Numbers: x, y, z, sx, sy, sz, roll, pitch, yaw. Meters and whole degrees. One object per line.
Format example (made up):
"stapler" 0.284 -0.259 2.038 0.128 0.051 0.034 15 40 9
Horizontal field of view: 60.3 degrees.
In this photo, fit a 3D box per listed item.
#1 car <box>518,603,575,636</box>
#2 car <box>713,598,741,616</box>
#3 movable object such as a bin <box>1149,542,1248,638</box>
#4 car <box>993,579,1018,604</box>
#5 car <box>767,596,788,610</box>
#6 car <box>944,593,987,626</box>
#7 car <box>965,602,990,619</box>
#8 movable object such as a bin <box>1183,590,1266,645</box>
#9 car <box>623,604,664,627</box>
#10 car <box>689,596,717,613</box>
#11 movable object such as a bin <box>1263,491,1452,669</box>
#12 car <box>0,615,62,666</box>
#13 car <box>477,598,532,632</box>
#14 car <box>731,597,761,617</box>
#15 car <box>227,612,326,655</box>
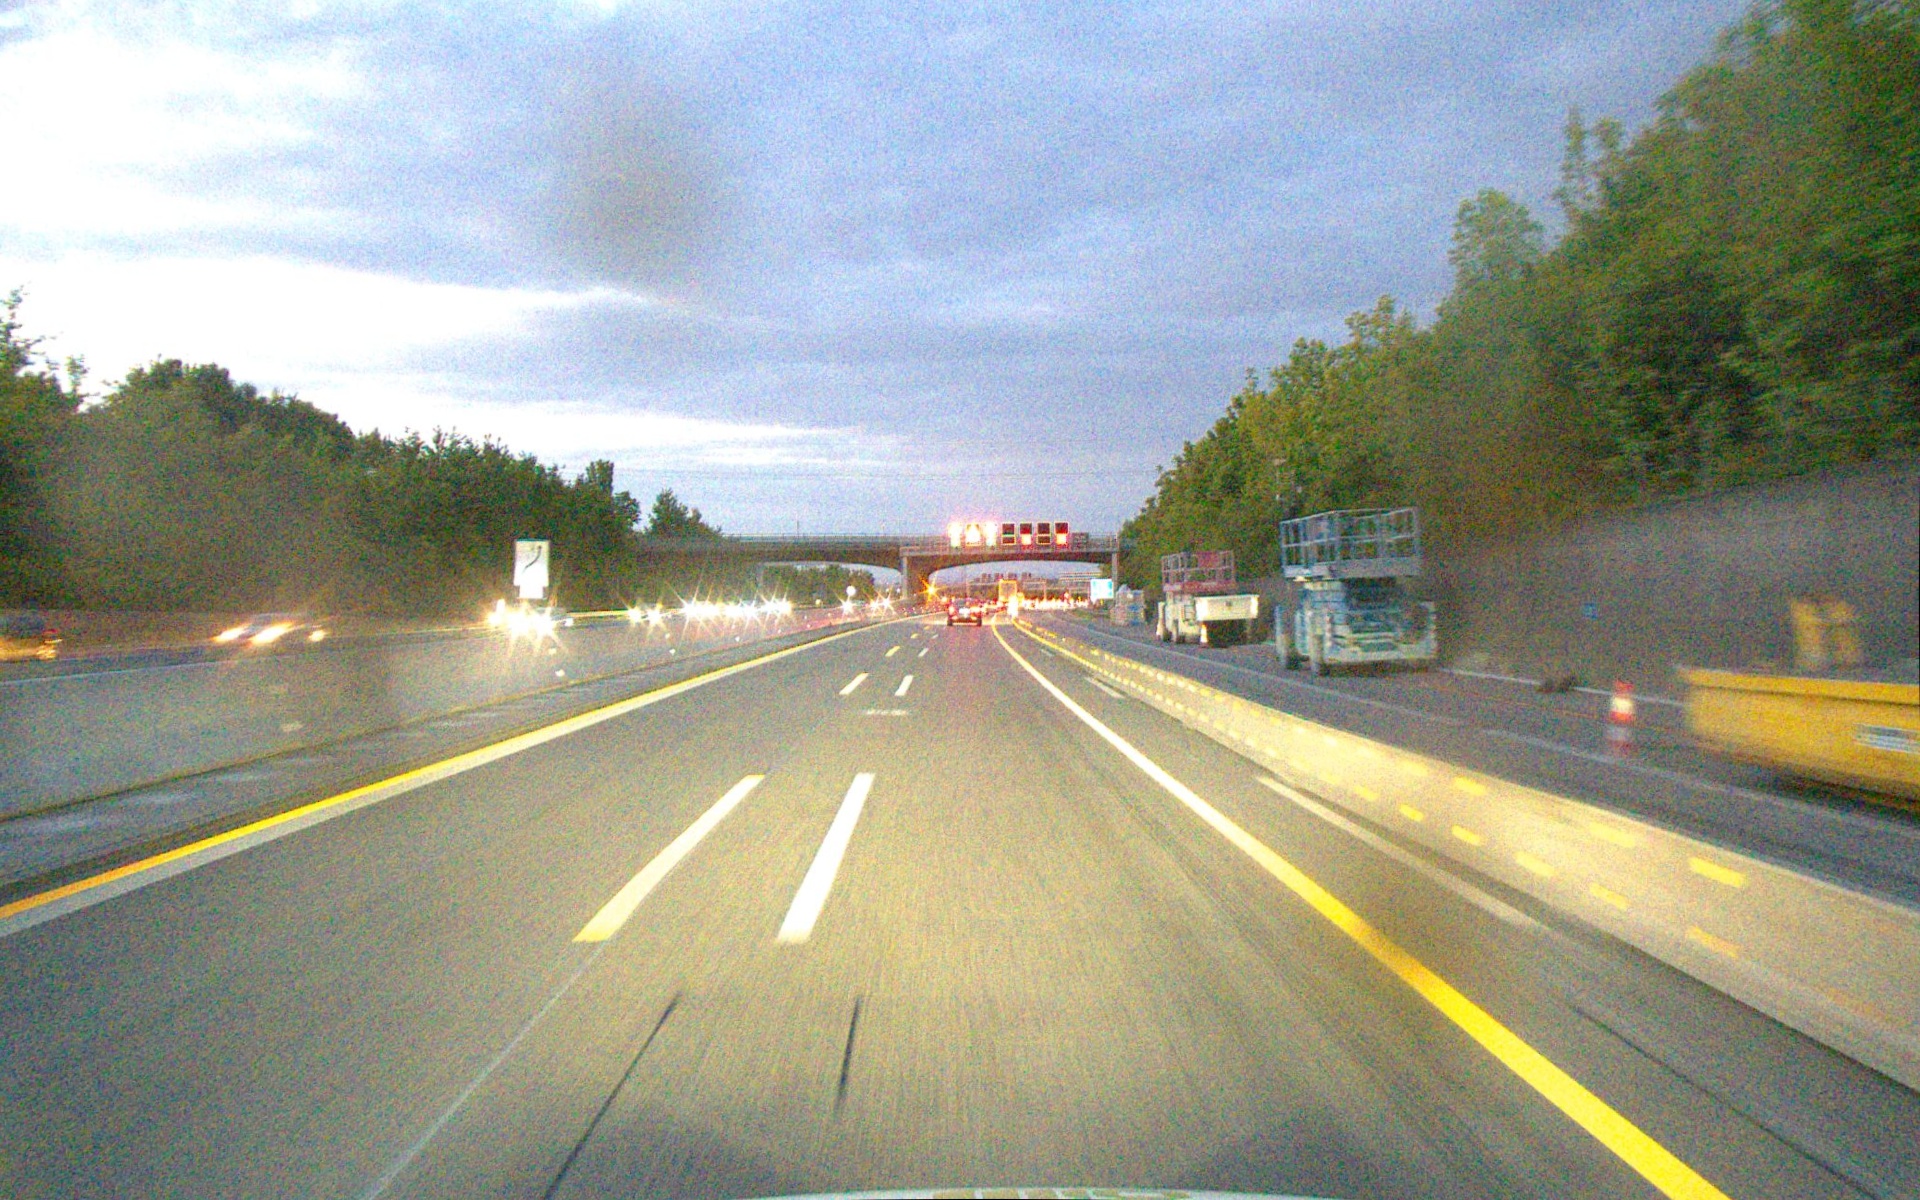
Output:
"car" -21.880 1.015 87.628 1.770 1.616 4.877 1 0 0
"car" -21.183 0.639 150.569 1.773 1.511 4.702 1 0 2
"movable object such as a bin" 8.219 -0.319 57.603 2.567 3.162 5.805 -1 0 -1
"car" 6.597 -1.228 240.120 3.531 3.455 8.015 1 0 1
"car" -21.343 0.367 193.260 1.766 1.666 4.752 1 0 2
"car" 0.260 0.493 88.160 2.219 1.650 3.999 1 0 -1
"car" 1.626 0.973 148.973 1.930 1.462 4.002 1 0 5
"movable object such as a bin" 8.369 0.551 52.639 1.952 1.629 4.084 -2 -1 0
"car" -21.545 1.065 112.781 1.714 1.480 4.671 1 0 2
"car" -24.065 0.461 154.995 1.787 1.511 4.702 1 0 2
"movable object such as a bin" 8.175 -0.373 34.687 2.512 3.376 5.578 -1 0 -1
"car" -29.391 1.225 50.463 1.544 1.495 4.227 1 0 2
"car" -25.157 0.812 91.517 1.715 1.752 4.670 1 0 0
"car" -18.953 0.612 146.631 1.861 1.768 4.809 1 0 2
"car" -25.836 1.245 62.647 1.638 1.495 4.648 1 0 2
